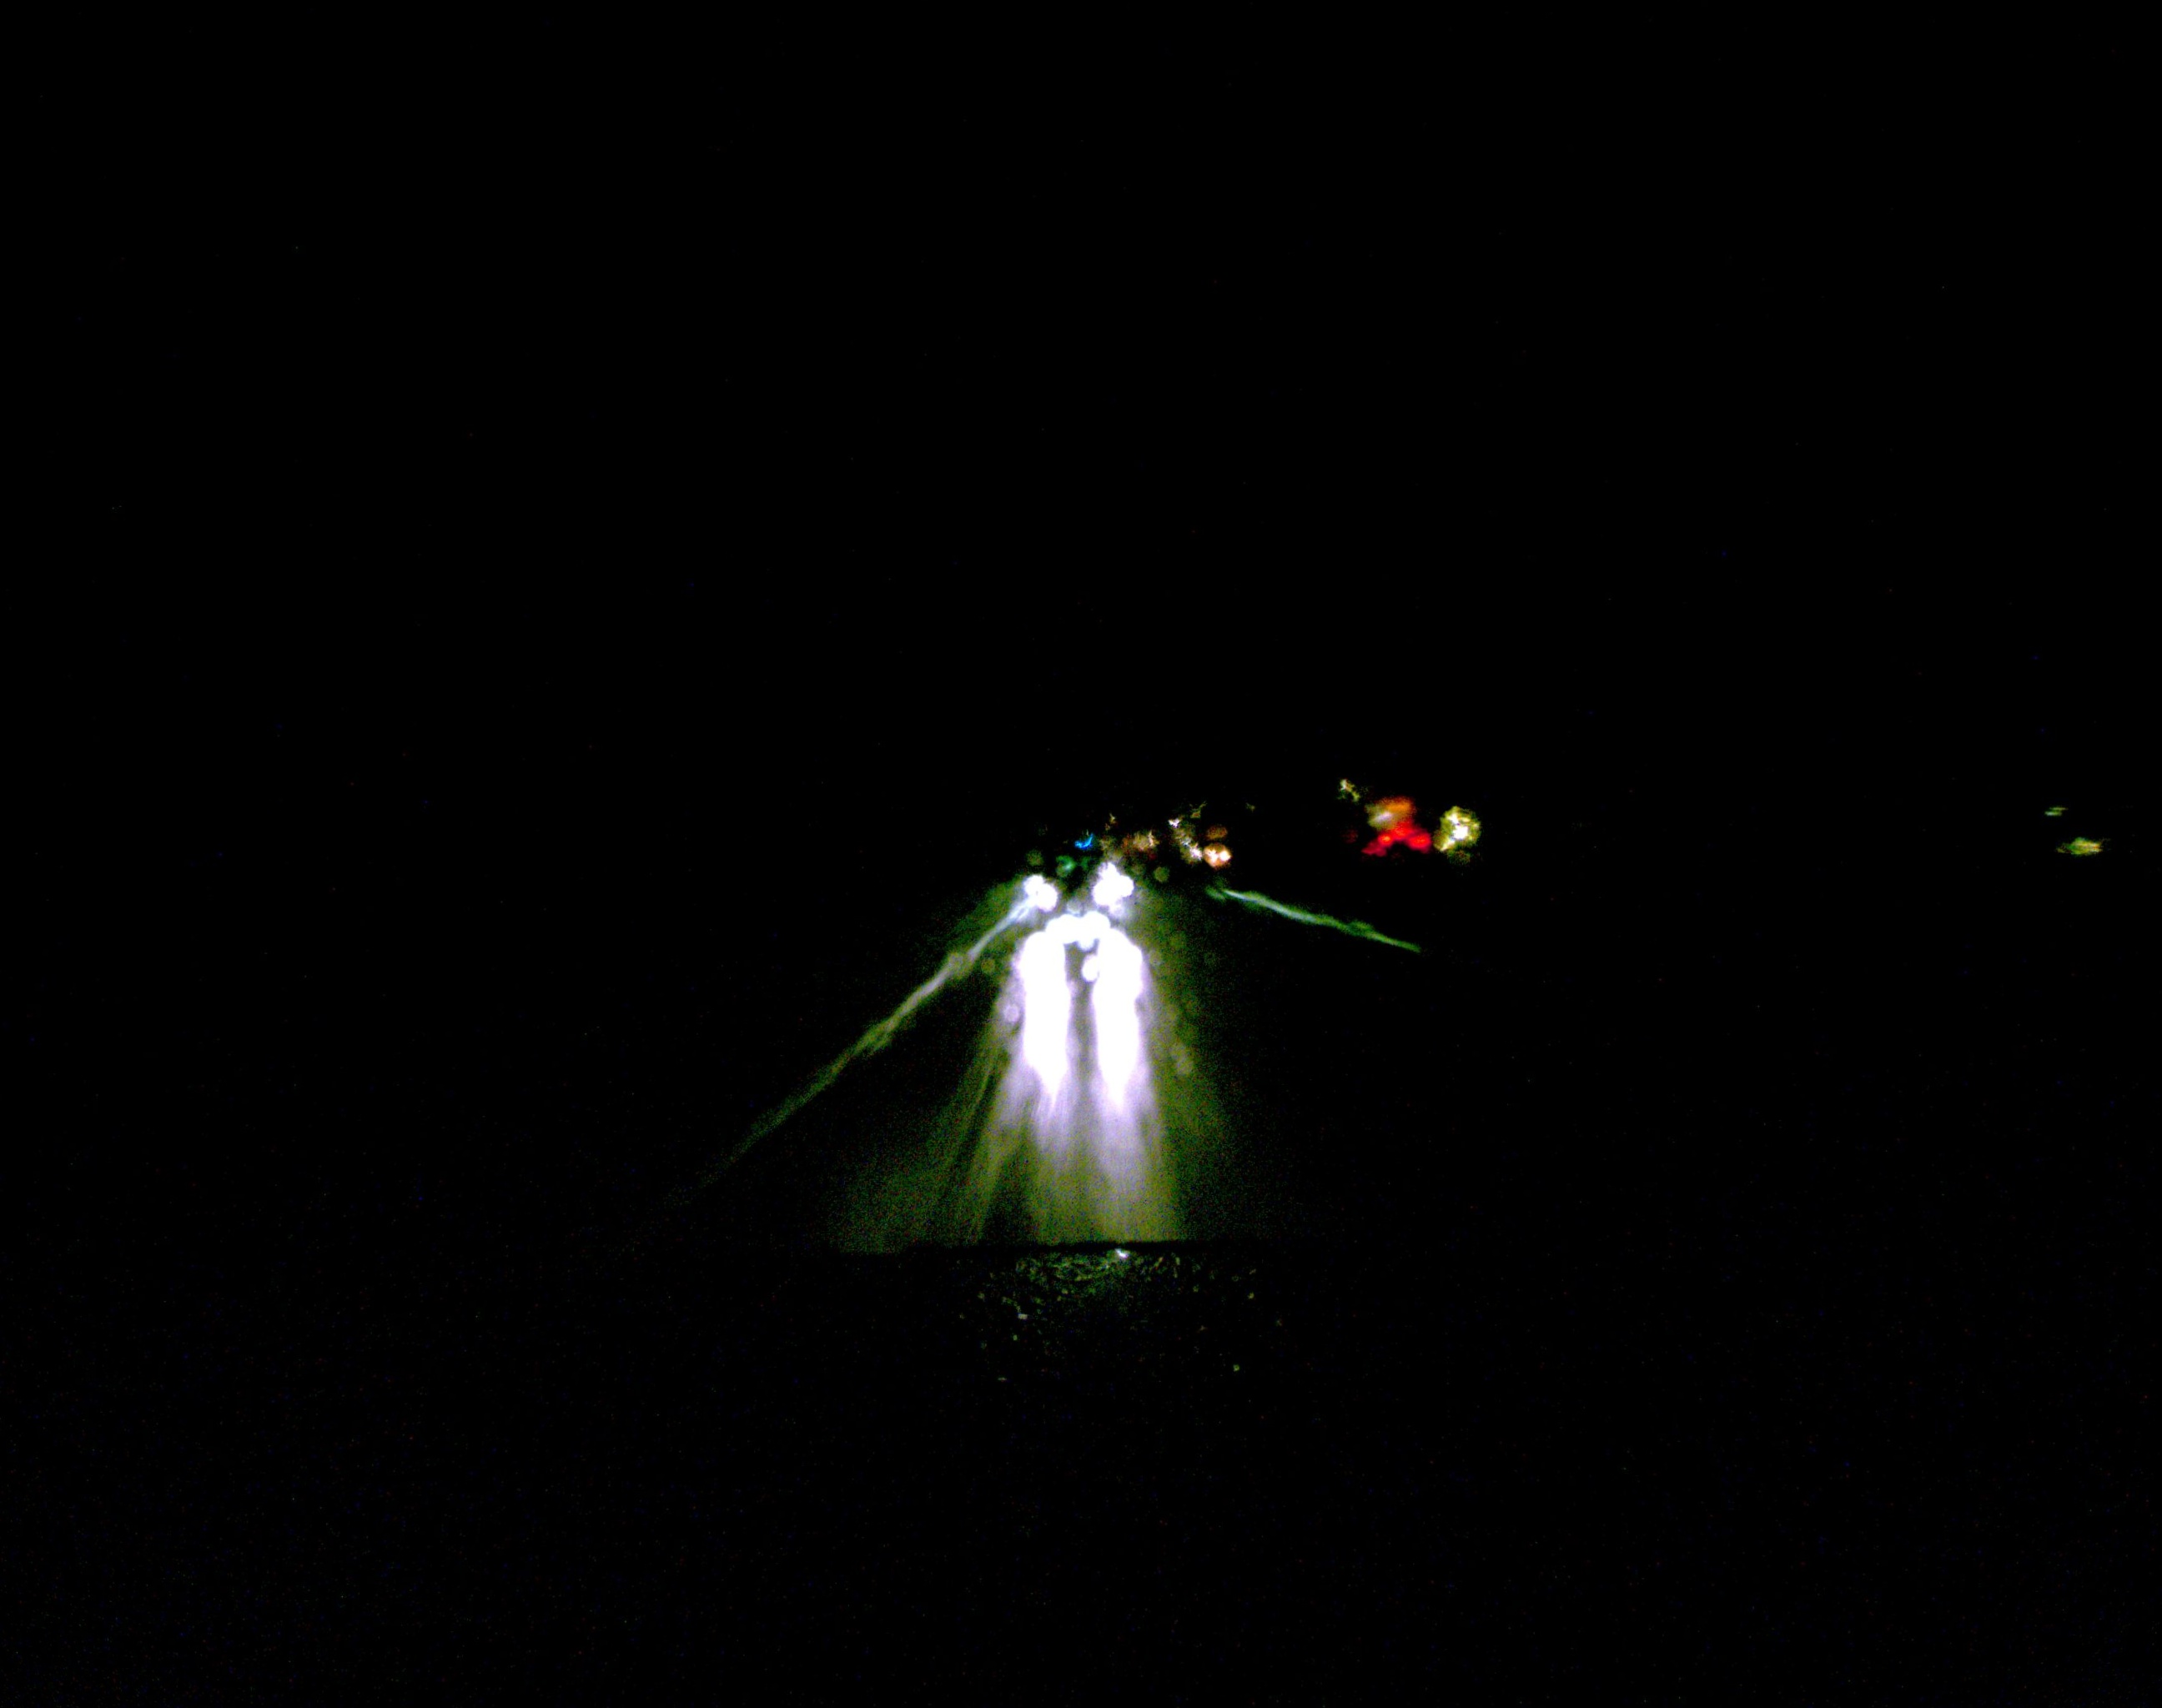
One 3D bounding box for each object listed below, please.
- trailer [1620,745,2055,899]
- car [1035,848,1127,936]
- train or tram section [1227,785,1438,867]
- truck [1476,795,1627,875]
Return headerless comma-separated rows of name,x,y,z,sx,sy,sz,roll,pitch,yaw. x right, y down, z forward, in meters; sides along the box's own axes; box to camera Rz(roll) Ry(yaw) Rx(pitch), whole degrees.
trailer,30.903,-1.208,33.130,3.981,4.984,14.831,-3,1,-1
car,-0.002,0.781,17.506,1.791,1.684,4.219,-3,0,0
train or tram section,15.697,-1.671,55.129,2.703,3.793,37.137,-3,1,0
truck,30.614,-1.215,50.257,3.448,4.583,10.210,-3,1,-1
